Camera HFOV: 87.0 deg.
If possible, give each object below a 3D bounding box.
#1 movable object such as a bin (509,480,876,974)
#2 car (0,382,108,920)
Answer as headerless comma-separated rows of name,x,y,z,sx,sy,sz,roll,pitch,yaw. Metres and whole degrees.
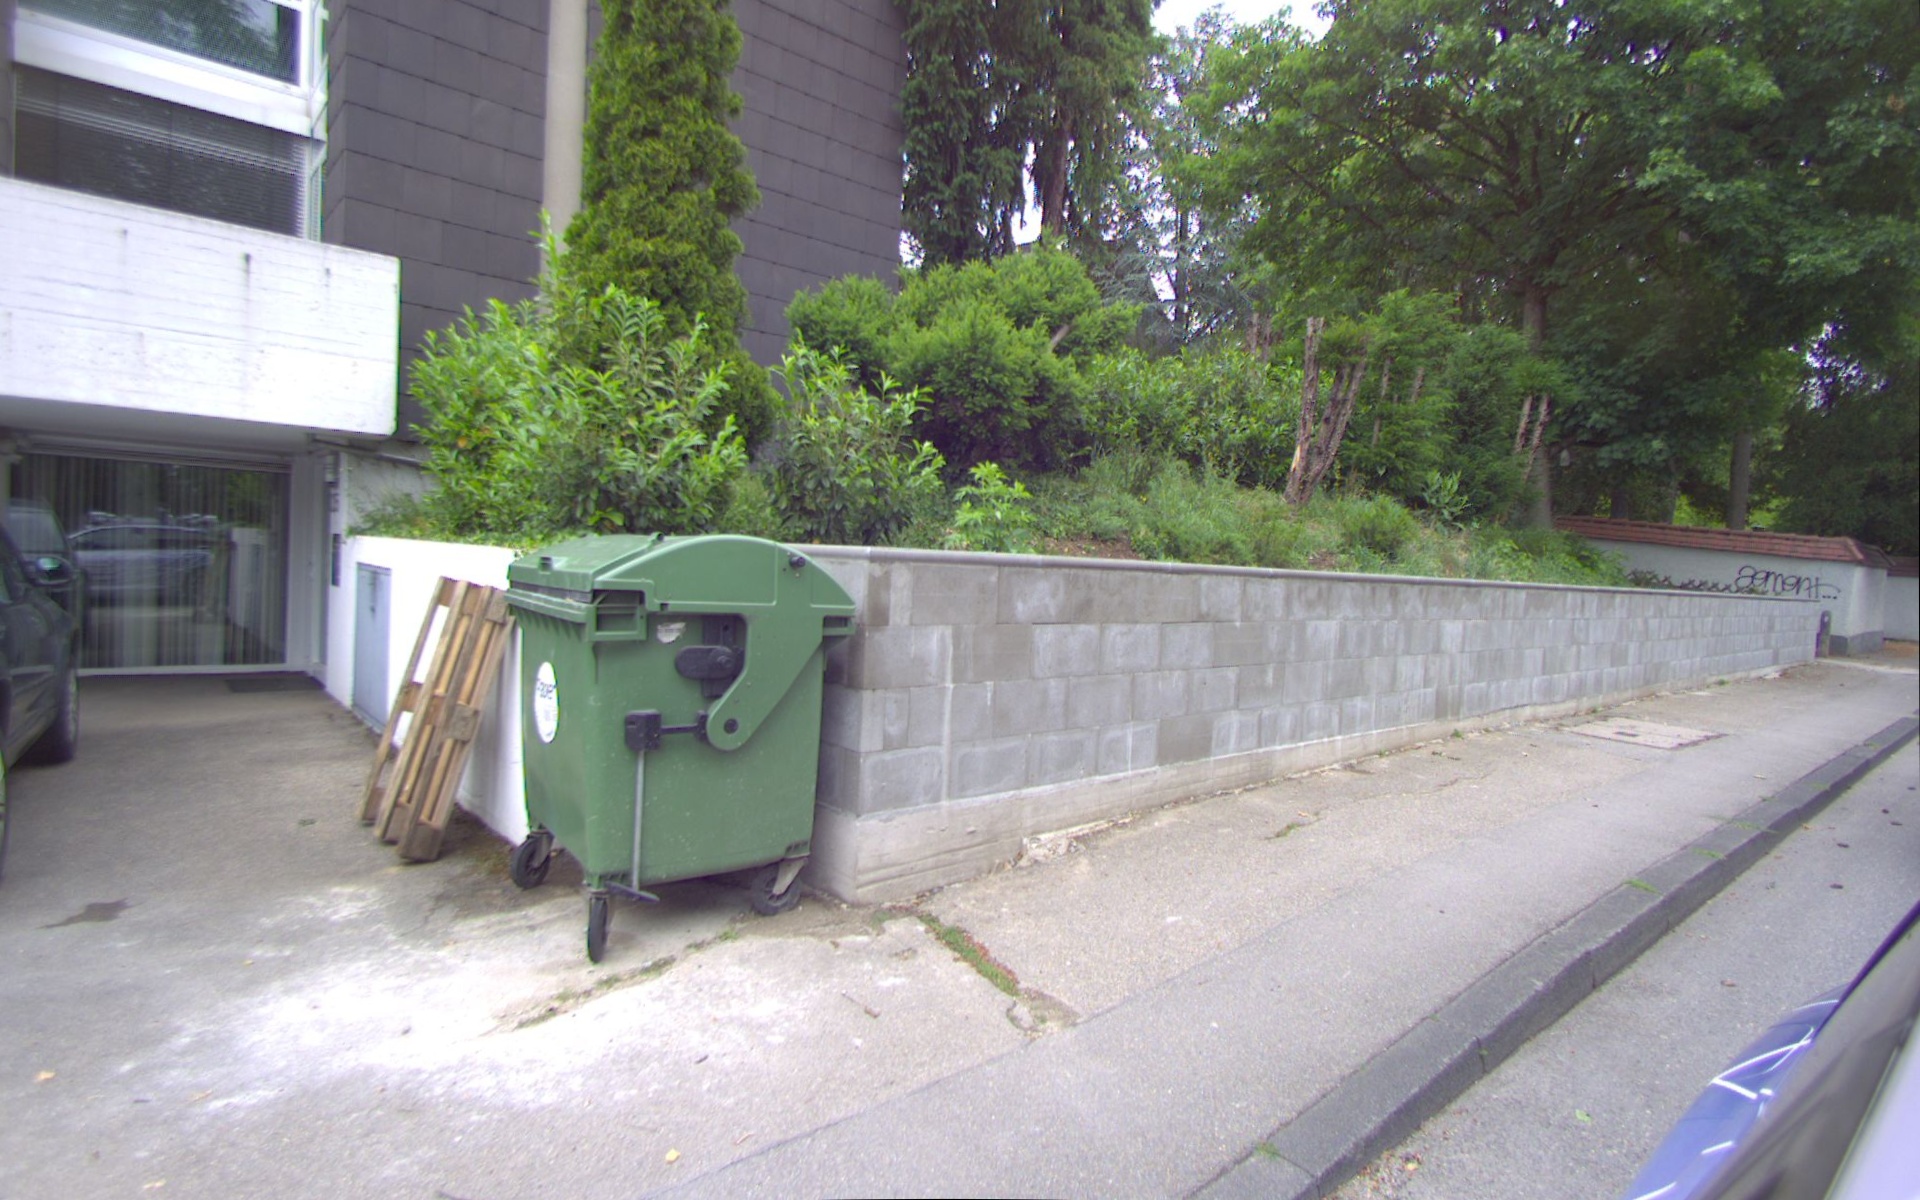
movable object such as a bin,-1.047,0.374,3.890,1.014,1.549,1.037,0,2,-39
car,-5.016,0.078,4.351,1.798,1.771,3.987,0,3,-36
